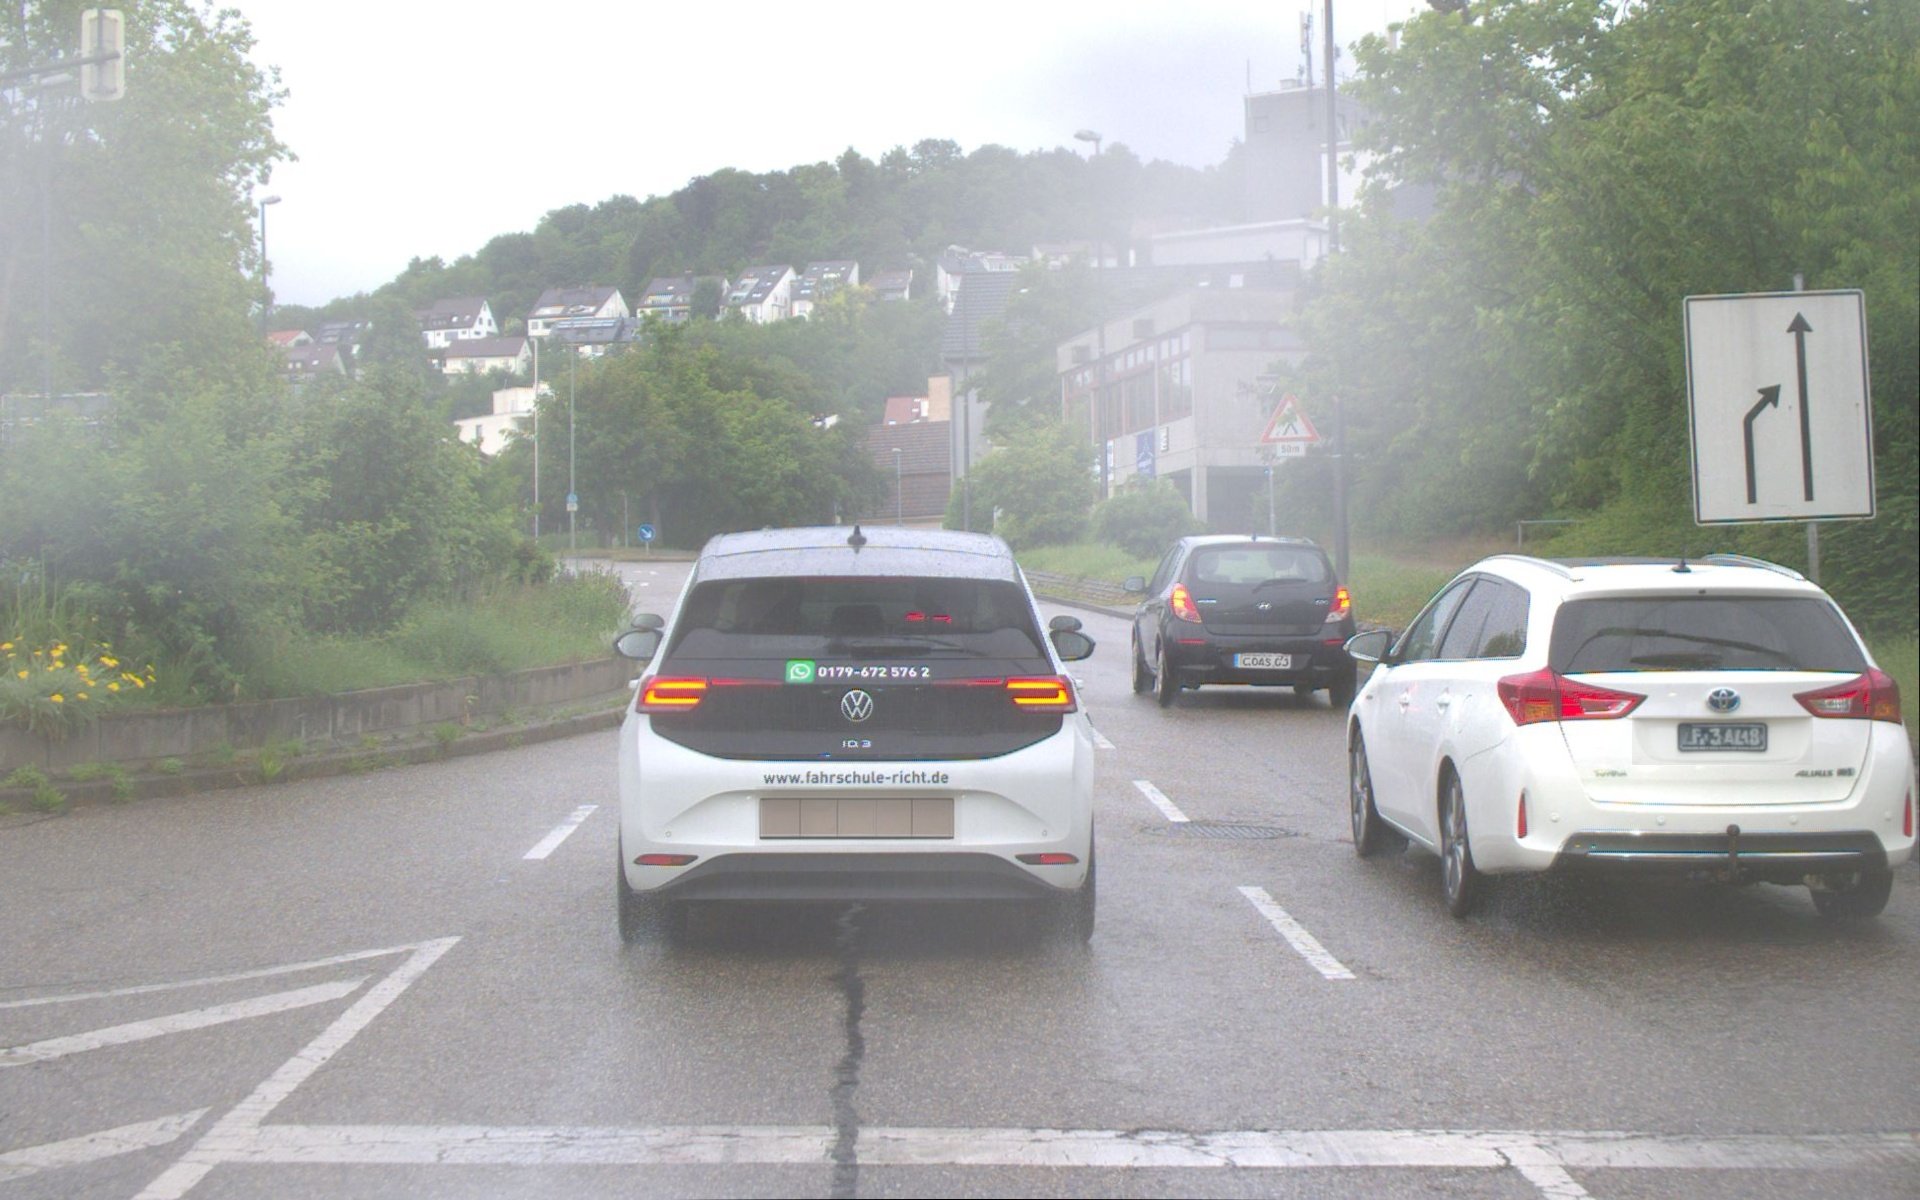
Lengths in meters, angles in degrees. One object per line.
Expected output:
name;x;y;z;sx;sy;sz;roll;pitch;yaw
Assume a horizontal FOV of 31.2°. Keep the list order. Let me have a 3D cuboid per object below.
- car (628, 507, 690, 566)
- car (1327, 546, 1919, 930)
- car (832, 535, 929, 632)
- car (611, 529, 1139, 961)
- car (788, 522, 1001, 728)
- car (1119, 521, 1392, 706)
car;-10.736;-2.249;122.790;1.993;2.007;4.000;1;0;-3
car;2.754;0.493;14.764;1.848;1.405;4.302;0;0;-1
car;-1.690;-0.356;73.723;1.993;2.007;4.000;1;0;-1
car;-0.321;0.490;14.033;1.828;1.495;4.168;0;0;-1
car;-0.587;0.141;27.752;1.567;1.525;4.001;0;1;-3
car;2.551;0.100;30.509;1.993;1.448;3.771;-3;0;-1
